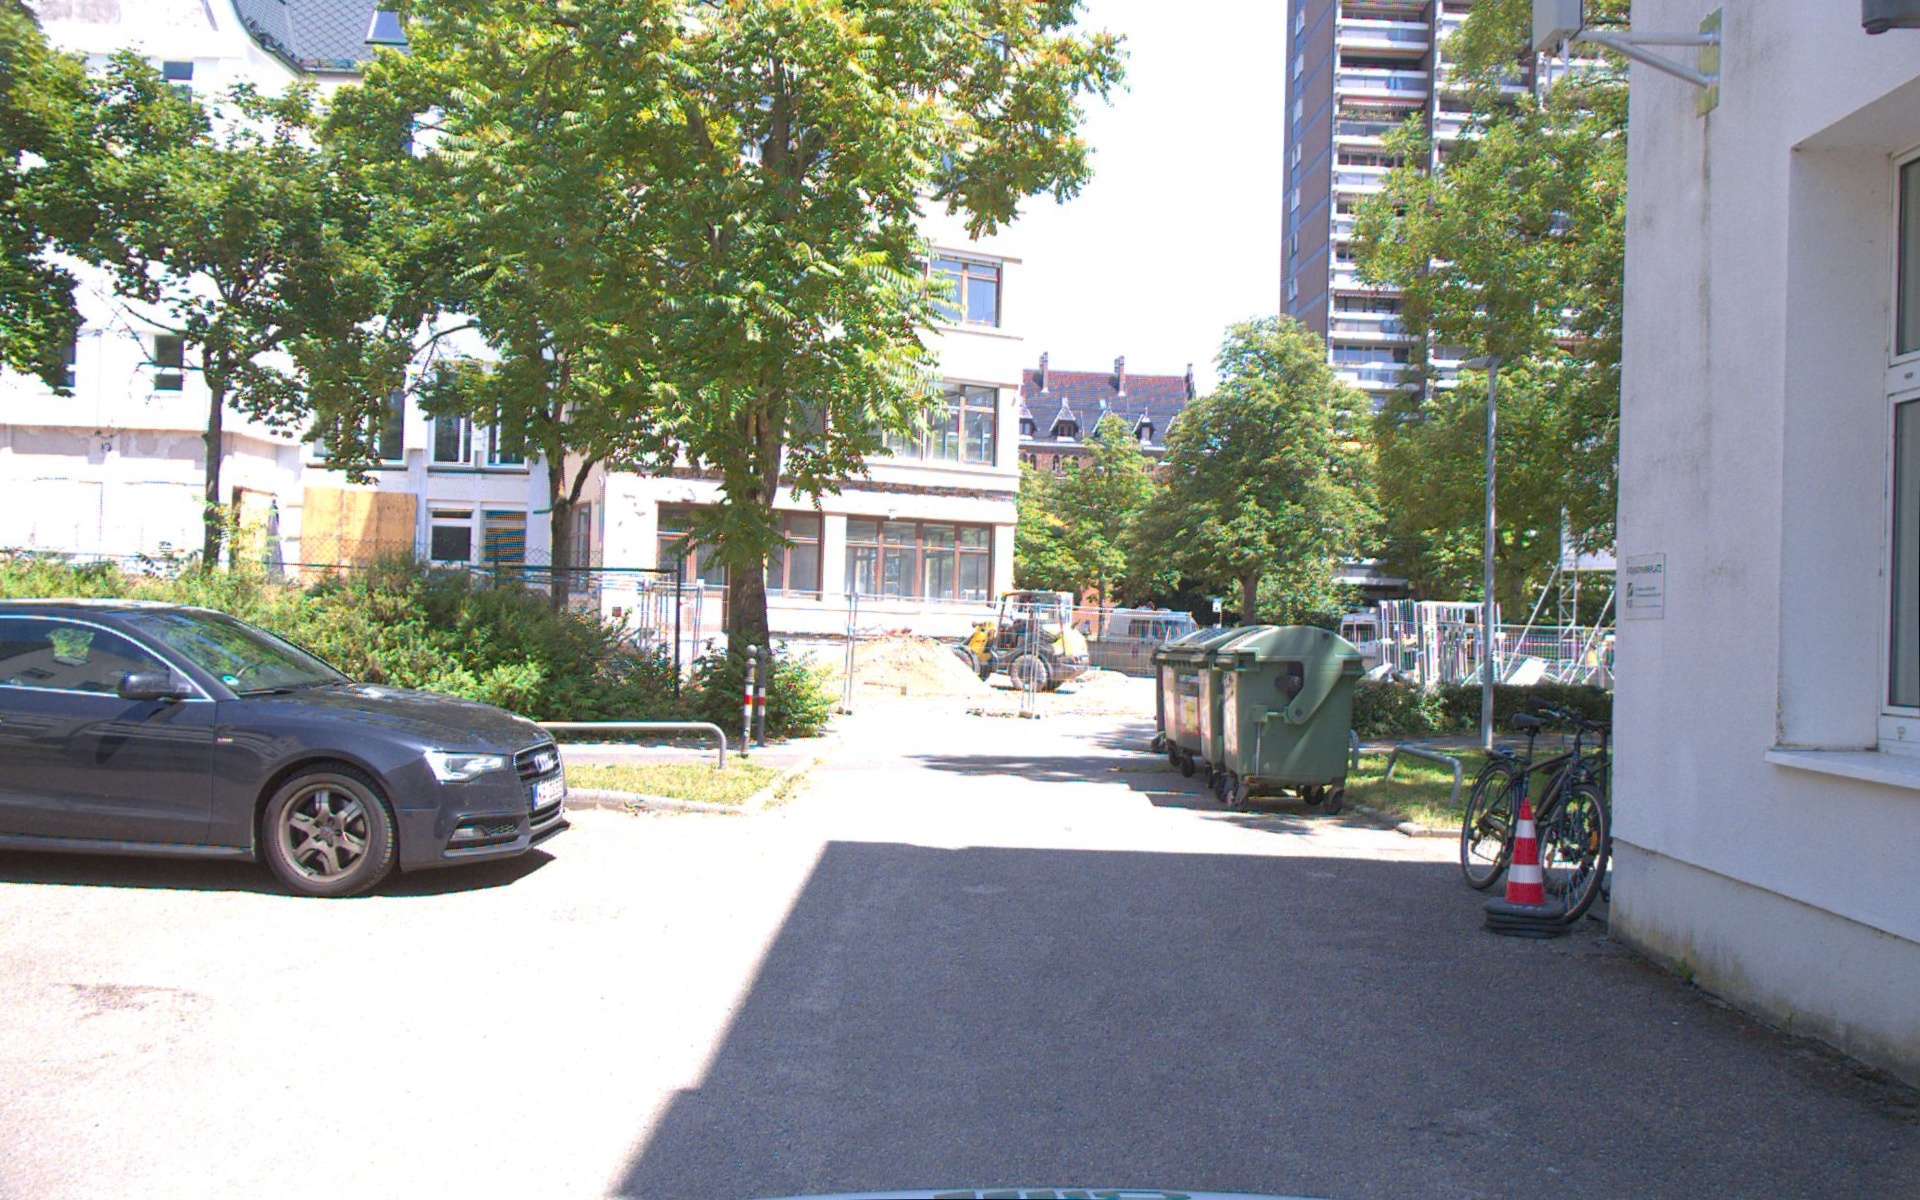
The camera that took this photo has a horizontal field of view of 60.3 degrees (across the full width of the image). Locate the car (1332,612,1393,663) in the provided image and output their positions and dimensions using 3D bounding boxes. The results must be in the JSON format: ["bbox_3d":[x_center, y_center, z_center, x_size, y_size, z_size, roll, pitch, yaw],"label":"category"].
[{"bbox_3d":[19.166,1.808,78.544,2.139,2.298,4.868,1,-2,21],"label":"car"}]

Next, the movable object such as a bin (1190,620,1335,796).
[{"bbox_3d":[2.700,0.947,14.923,1.053,1.483,1.377,1,-2,1],"label":"movable object such as a bin"}]

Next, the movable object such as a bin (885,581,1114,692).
[{"bbox_3d":[0.991,0.917,42.519,5.301,2.507,2.364,3,-1,29],"label":"movable object such as a bin"}]

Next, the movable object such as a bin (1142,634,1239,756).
[{"bbox_3d":[2.956,1.202,21.320,1.053,1.483,1.377,1,-2,1],"label":"movable object such as a bin"}]

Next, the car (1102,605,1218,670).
[{"bbox_3d":[7.984,1.482,66.578,1.971,2.459,5.193,2,-2,-28],"label":"car"}]

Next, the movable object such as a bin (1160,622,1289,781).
[{"bbox_3d":[2.599,0.981,16.395,1.053,1.483,1.377,1,-2,1],"label":"movable object such as a bin"}]

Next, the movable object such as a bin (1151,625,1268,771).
[{"bbox_3d":[2.661,1.033,17.816,1.053,1.483,1.377,1,-2,1],"label":"movable object such as a bin"}]

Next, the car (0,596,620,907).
[{"bbox_3d":[-4.252,0.715,8.912,4.337,1.404,2.024,1,-2,2],"label":"car"}]

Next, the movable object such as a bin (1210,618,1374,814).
[{"bbox_3d":[2.673,0.910,13.481,1.053,1.483,1.377,1,-2,1],"label":"movable object such as a bin"}]

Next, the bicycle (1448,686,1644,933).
[{"bbox_3d":[3.084,1.052,8.851,0.396,1.121,1.826,1,-1,0],"label":"bicycle"}]

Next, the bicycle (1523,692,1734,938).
[{"bbox_3d":[3.543,1.089,8.903,0.396,1.121,1.826,1,-1,0],"label":"bicycle"}]

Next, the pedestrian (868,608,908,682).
[{"bbox_3d":[-1.878,1.181,43.356,0.895,1.879,0.986,1,-2,3],"label":"pedestrian"}]
